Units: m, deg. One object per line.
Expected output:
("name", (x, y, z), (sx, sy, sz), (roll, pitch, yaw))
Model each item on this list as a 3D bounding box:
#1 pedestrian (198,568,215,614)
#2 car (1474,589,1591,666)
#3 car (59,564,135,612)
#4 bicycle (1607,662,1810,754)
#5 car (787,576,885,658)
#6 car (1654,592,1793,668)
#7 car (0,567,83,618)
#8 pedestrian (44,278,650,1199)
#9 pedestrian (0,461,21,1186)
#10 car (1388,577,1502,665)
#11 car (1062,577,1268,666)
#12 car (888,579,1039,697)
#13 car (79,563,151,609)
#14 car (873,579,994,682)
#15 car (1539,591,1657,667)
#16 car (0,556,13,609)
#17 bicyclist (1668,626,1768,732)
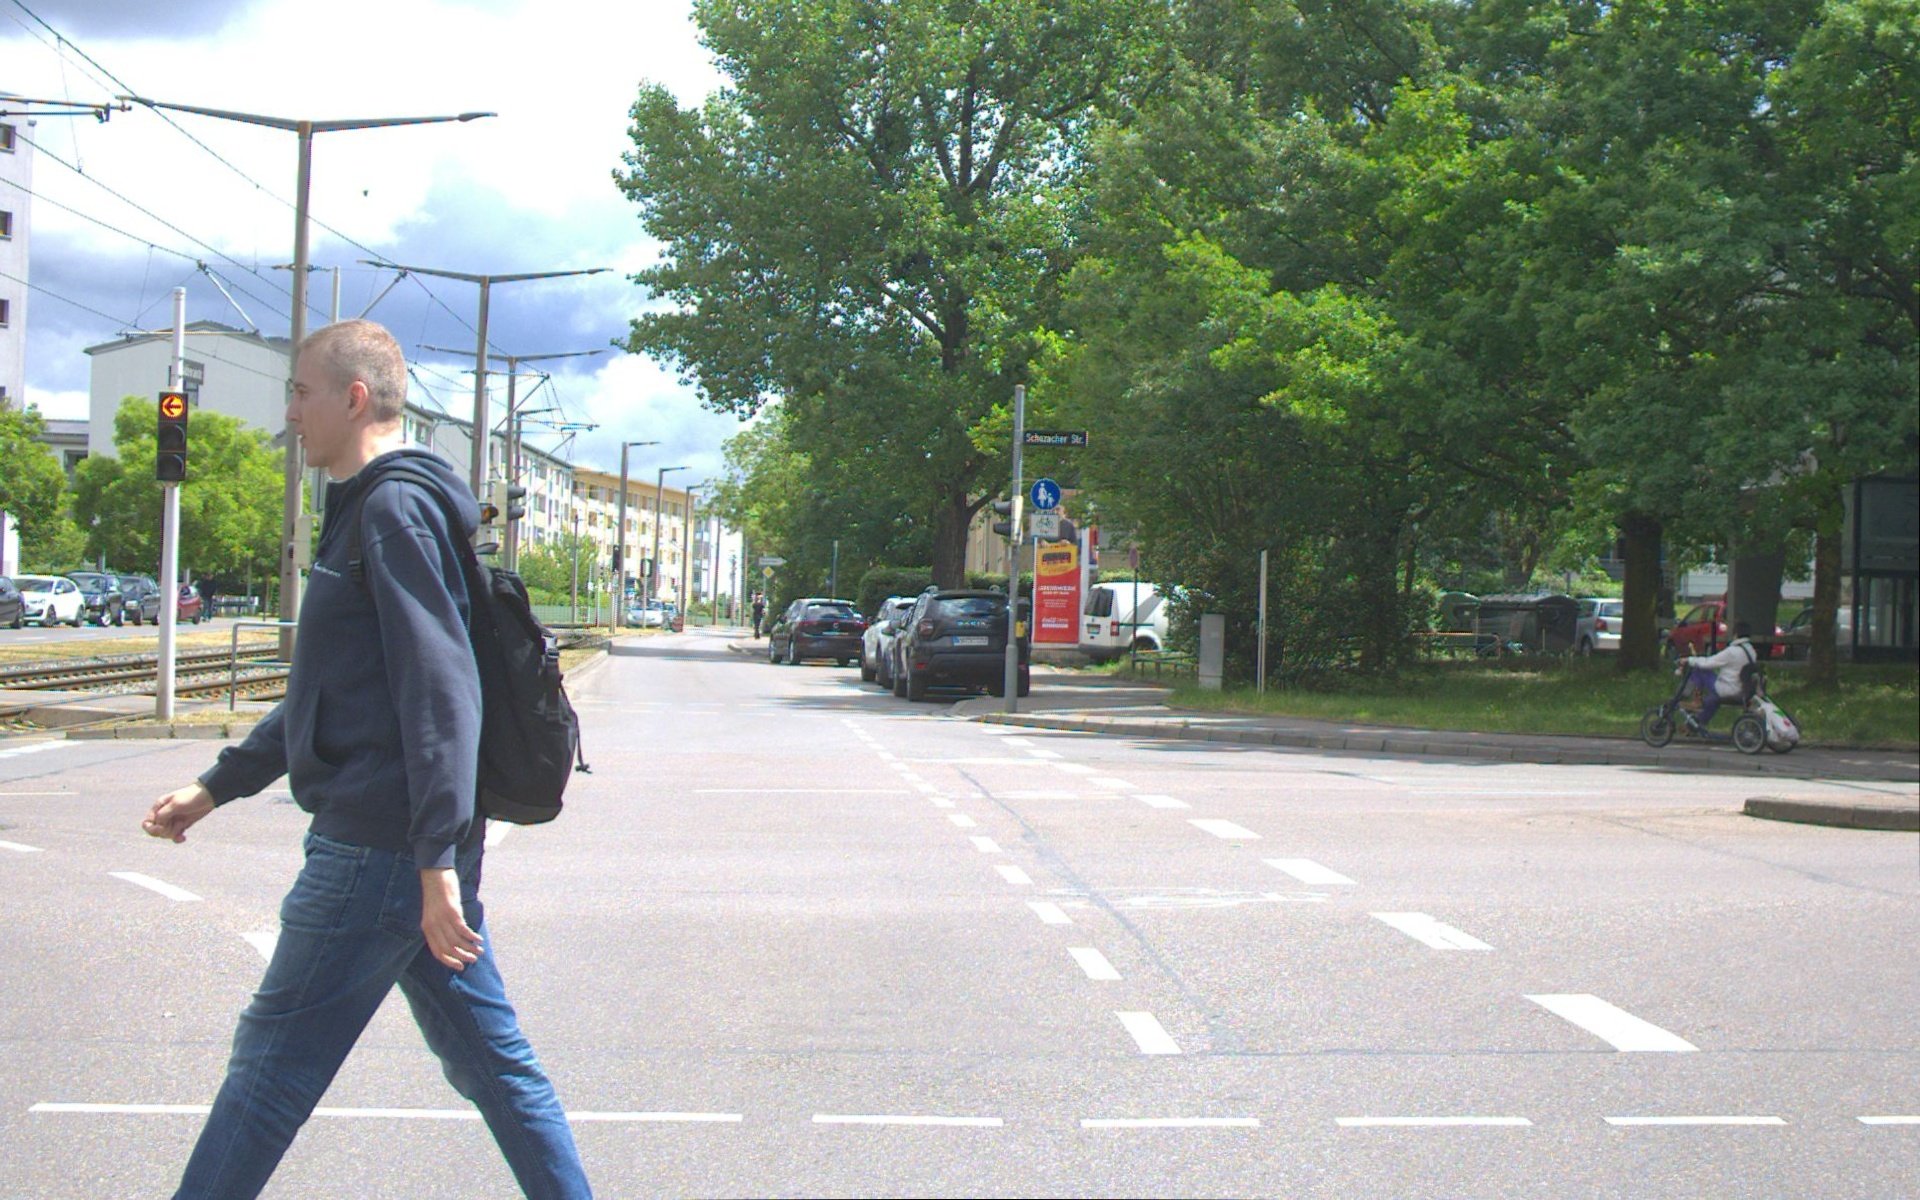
("pedestrian", (-27.304, -0.329, 124.584), (0.453, 1.631, 0.480), (1, 1, 4))
("car", (12.484, 0.581, 75.188), (1.630, 1.567, 4.033), (1, 1, -4))
("car", (-26.369, -0.368, 105.082), (1.760, 1.390, 4.001), (1, 1, -7))
("bicycle", (7.460, 1.068, 34.303), (1.806, 0.816, 0.792), (2, 1, 42))
("car", (-2.662, 0.346, 74.536), (1.993, 1.678, 4.000), (1, 1, -1))
("car", (17.064, 0.656, 77.029), (1.730, 1.589, 4.001), (1, 1, -8))
("car", (-26.288, -0.225, 98.460), (1.760, 1.390, 4.001), (1, 1, -7))
("pedestrian", (-1.065, 0.436, 6.183), (0.966, 1.935, 0.897), (1, 1, -5))
("pedestrian", (-2.758, 0.518, 7.702), (0.953, 1.668, 0.870), (0, 0, 15))
("car", (10.464, 0.431, 74.447), (1.630, 1.804, 4.033), (1, 1, -4))
("car", (4.375, 0.449, 73.332), (3.986, 1.817, 1.779), (1, 1, -23))
("car", (0.029, 0.559, 51.808), (2.152, 1.678, 4.000), (1, 0, -1))
("car", (-26.926, -0.460, 109.646), (1.760, 1.390, 4.001), (1, 1, -7))
("car", (-0.461, 0.522, 59.255), (1.993, 1.678, 4.000), (1, 0, -1))
("car", (14.180, 0.621, 76.593), (1.630, 1.589, 4.001), (1, 1, -4))
("car", (-26.300, -0.464, 91.104), (1.760, 1.390, 4.001), (1, 1, -7))
("bicyclist", (7.542, 0.782, 34.203), (0.635, 1.019, 0.792), (2, 1, 42))
